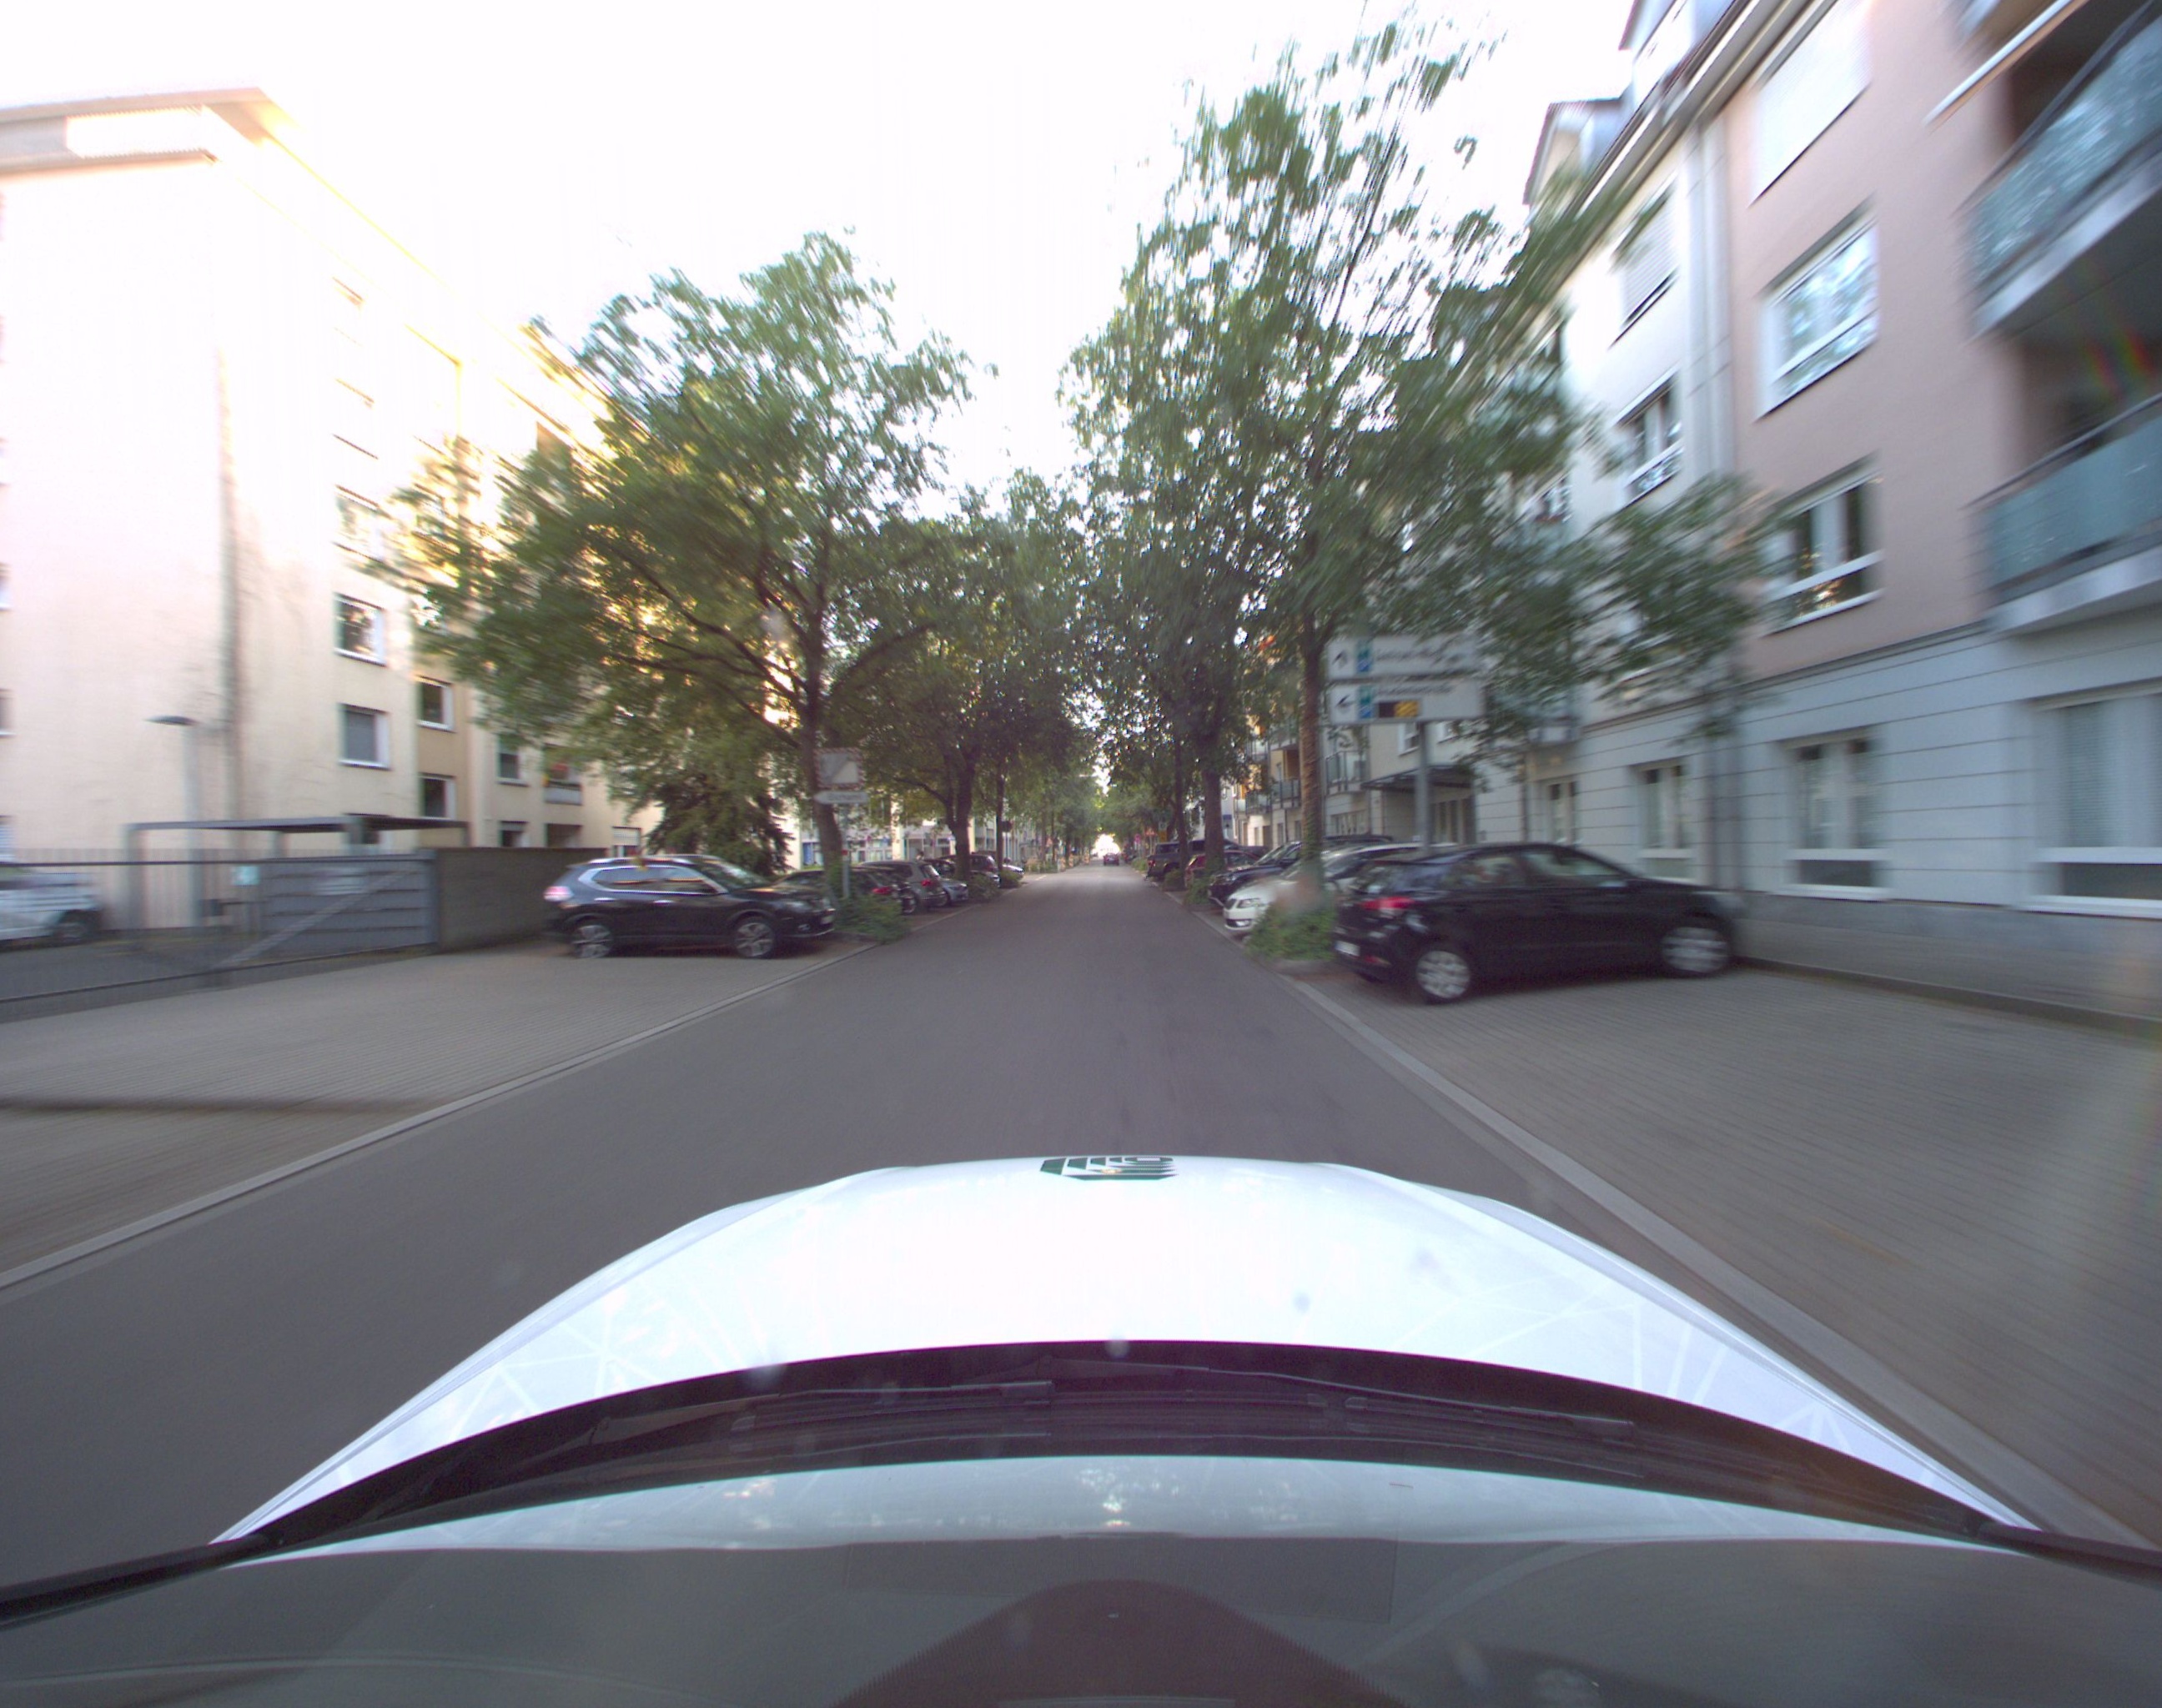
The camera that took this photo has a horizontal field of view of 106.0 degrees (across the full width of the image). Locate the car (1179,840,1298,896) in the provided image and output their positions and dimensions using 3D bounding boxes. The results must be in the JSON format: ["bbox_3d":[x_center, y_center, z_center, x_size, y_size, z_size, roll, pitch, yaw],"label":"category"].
[{"bbox_3d":[5.386,0.489,28.212,3.653,1.548,1.780,-5,-2,-1],"label":"car"}]

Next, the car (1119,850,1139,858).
[{"bbox_3d":[9.891,-0.024,168.734,3.976,1.597,1.999,-2,0,-2],"label":"car"}]

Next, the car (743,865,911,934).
[{"bbox_3d":[-5.900,1.031,19.176,3.394,1.442,1.594,-2,0,-1],"label":"car"}]

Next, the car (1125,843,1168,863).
[{"bbox_3d":[7.731,-0.115,96.729,4.953,2.087,1.739,-2,0,1],"label":"car"}]

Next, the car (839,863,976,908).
[{"bbox_3d":[-5.584,1.000,26.612,4.087,1.379,1.746,-1,0,-1],"label":"car"}]

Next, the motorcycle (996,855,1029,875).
[{"bbox_3d":[-5.207,0.870,62.153,2.391,1.440,0.792,-2,0,-38],"label":"motorcycle"}]

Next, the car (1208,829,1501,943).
[{"bbox_3d":[4.719,0.535,14.530,4.556,1.552,1.773,-5,0,1],"label":"car"}]

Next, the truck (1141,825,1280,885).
[{"bbox_3d":[5.930,0.050,37.905,5.982,2.133,2.262,-6,0,1],"label":"truck"}]

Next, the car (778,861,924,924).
[{"bbox_3d":[-6.099,1.001,21.852,3.394,1.506,1.664,-2,0,-1],"label":"car"}]

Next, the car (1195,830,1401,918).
[{"bbox_3d":[5.209,0.457,19.846,4.379,1.703,1.891,-5,0,-7],"label":"car"}]

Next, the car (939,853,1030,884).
[{"bbox_3d":[-5.020,0.761,42.781,4.480,1.581,2.056,0,-1,2],"label":"car"}]

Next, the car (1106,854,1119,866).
[{"bbox_3d":[3.652,0.671,94.540,1.494,1.416,3.715,-1,0,2],"label":"car"}]

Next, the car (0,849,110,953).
[{"bbox_3d":[-21.652,0.952,15.113,1.775,1.956,4.418,-2,1,2],"label":"car"}]

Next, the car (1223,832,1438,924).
[{"bbox_3d":[5.130,0.493,17.172,3.970,1.525,1.728,-5,0,3],"label":"car"}]

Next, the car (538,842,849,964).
[{"bbox_3d":[-6.562,0.799,14.186,4.402,1.892,2.000,-1,0,1],"label":"car"}]

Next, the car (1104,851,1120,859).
[{"bbox_3d":[8.160,0.175,212.894,3.970,2.013,2.002,-2,0,3],"label":"car"}]

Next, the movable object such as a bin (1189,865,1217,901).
[{"bbox_3d":[3.814,0.906,25.415,0.772,1.068,0.589,-2,0,1],"label":"movable object such as a bin"}]

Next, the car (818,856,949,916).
[{"bbox_3d":[-5.790,0.927,24.200,3.394,1.609,1.760,-2,0,-1],"label":"car"}]

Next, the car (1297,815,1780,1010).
[{"bbox_3d":[4.584,0.538,8.609,3.977,1.474,1.912,-5,0,-3],"label":"car"}]

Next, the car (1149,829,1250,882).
[{"bbox_3d":[5.815,0.085,40.481,4.603,2.133,2.037,-6,0,1],"label":"car"}]

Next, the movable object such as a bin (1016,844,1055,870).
[{"bbox_3d":[-4.476,0.288,80.469,3.653,2.333,2.583,-2,0,0],"label":"movable object such as a bin"}]

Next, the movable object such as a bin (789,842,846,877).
[{"bbox_3d":[-20.392,0.454,63.025,4.059,2.634,1.813,-1,0,26],"label":"movable object such as a bin"}]

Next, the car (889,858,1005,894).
[{"bbox_3d":[-5.788,0.953,35.599,4.701,1.424,2.071,-1,0,-1],"label":"car"}]

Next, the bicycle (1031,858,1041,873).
[{"bbox_3d":[-3.570,0.938,65.016,0.599,1.118,1.801,-2,1,2],"label":"bicycle"}]

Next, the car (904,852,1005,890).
[{"bbox_3d":[-5.812,0.773,37.825,4.382,1.684,2.064,0,0,-1],"label":"car"}]

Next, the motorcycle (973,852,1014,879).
[{"bbox_3d":[-4.967,0.648,46.348,2.208,1.493,0.692,-1,0,3],"label":"motorcycle"}]
